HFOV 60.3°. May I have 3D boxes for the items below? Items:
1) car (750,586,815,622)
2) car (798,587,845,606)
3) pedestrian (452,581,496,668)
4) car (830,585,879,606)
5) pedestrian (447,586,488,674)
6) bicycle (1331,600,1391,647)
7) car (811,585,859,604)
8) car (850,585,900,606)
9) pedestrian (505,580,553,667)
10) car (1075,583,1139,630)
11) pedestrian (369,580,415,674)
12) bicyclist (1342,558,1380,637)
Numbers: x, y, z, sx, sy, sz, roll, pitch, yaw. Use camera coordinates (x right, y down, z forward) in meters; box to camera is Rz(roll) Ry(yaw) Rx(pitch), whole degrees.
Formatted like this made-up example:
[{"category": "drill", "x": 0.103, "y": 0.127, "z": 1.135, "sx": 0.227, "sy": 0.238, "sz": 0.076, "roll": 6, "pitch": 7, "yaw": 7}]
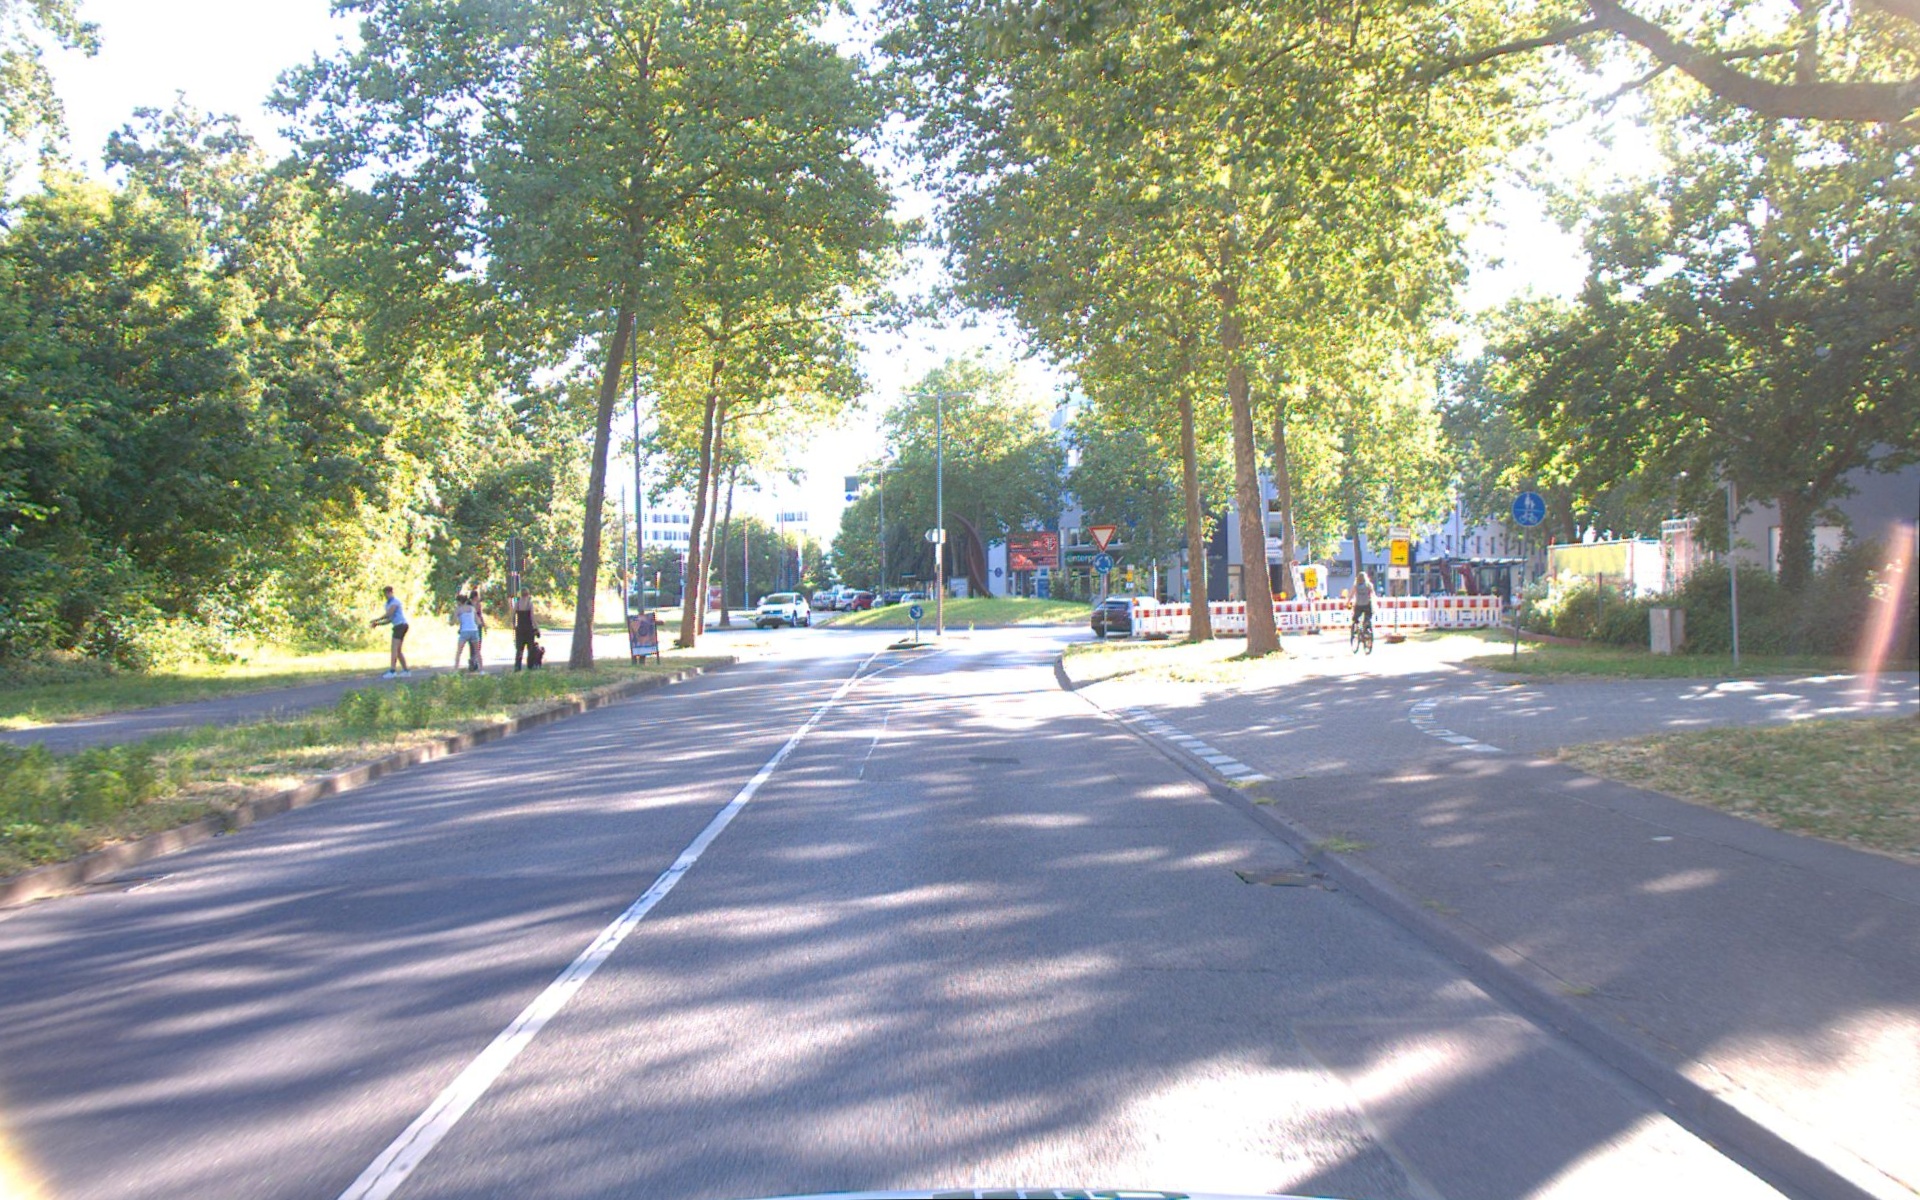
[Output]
[{"category": "car", "x": -8.336, "y": 0.177, "z": 77.922, "sx": 1.951, "sy": 1.606, "sz": 4.004, "roll": -1, "pitch": 0, "yaw": 10}, {"category": "car", "x": -12.807, "y": -0.345, "z": 153.222, "sx": 3.946, "sy": 1.777, "sz": 1.777, "roll": 0, "pitch": 0, "yaw": -31}, {"category": "pedestrian", "x": -10.042, "y": 0.499, "z": 34.191, "sx": 0.651, "sy": 1.769, "sz": 0.751, "roll": -1, "pitch": 0, "yaw": 1}, {"category": "car", "x": -9.122, "y": -0.408, "z": 143.012, "sx": 3.946, "sy": 1.777, "sz": 1.777, "roll": 0, "pitch": 0, "yaw": -31}, {"category": "pedestrian", "x": -9.500, "y": 0.577, "z": 31.877, "sx": 0.626, "sy": 1.666, "sz": 0.570, "roll": -1, "pitch": 0, "yaw": -31}, {"category": "bicycle", "x": 8.936, "y": 0.524, "z": 36.936, "sx": 0.754, "sy": 0.981, "sz": 2.174, "roll": -3, "pitch": 0, "yaw": -1}, {"category": "car", "x": -11.417, "y": -0.493, "z": 151.106, "sx": 3.946, "sy": 1.777, "sz": 1.777, "roll": 0, "pitch": 0, "yaw": -31}, {"category": "car", "x": -7.219, "y": -0.390, "z": 140.691, "sx": 3.946, "sy": 1.777, "sz": 1.777, "roll": 0, "pitch": 0, "yaw": -31}, {"category": "pedestrian", "x": -8.907, "y": 0.481, "z": 34.202, "sx": 0.733, "sy": 1.769, "sz": 0.852, "roll": -1, "pitch": 0, "yaw": 1}, {"category": "car", "x": 5.473, "y": 0.221, "z": 61.138, "sx": 1.800, "sy": 1.633, "sz": 3.866, "roll": -1, "pitch": 0, "yaw": 13}, {"category": "pedestrian", "x": -10.903, "y": 0.515, "z": 31.753, "sx": 0.649, "sy": 1.769, "sz": 0.634, "roll": -1, "pitch": 0, "yaw": -1}, {"category": "bicyclist", "x": 8.934, "y": -0.050, "z": 36.878, "sx": 0.637, "sy": 1.735, "sz": 0.871, "roll": 0, "pitch": 0, "yaw": 0}]
